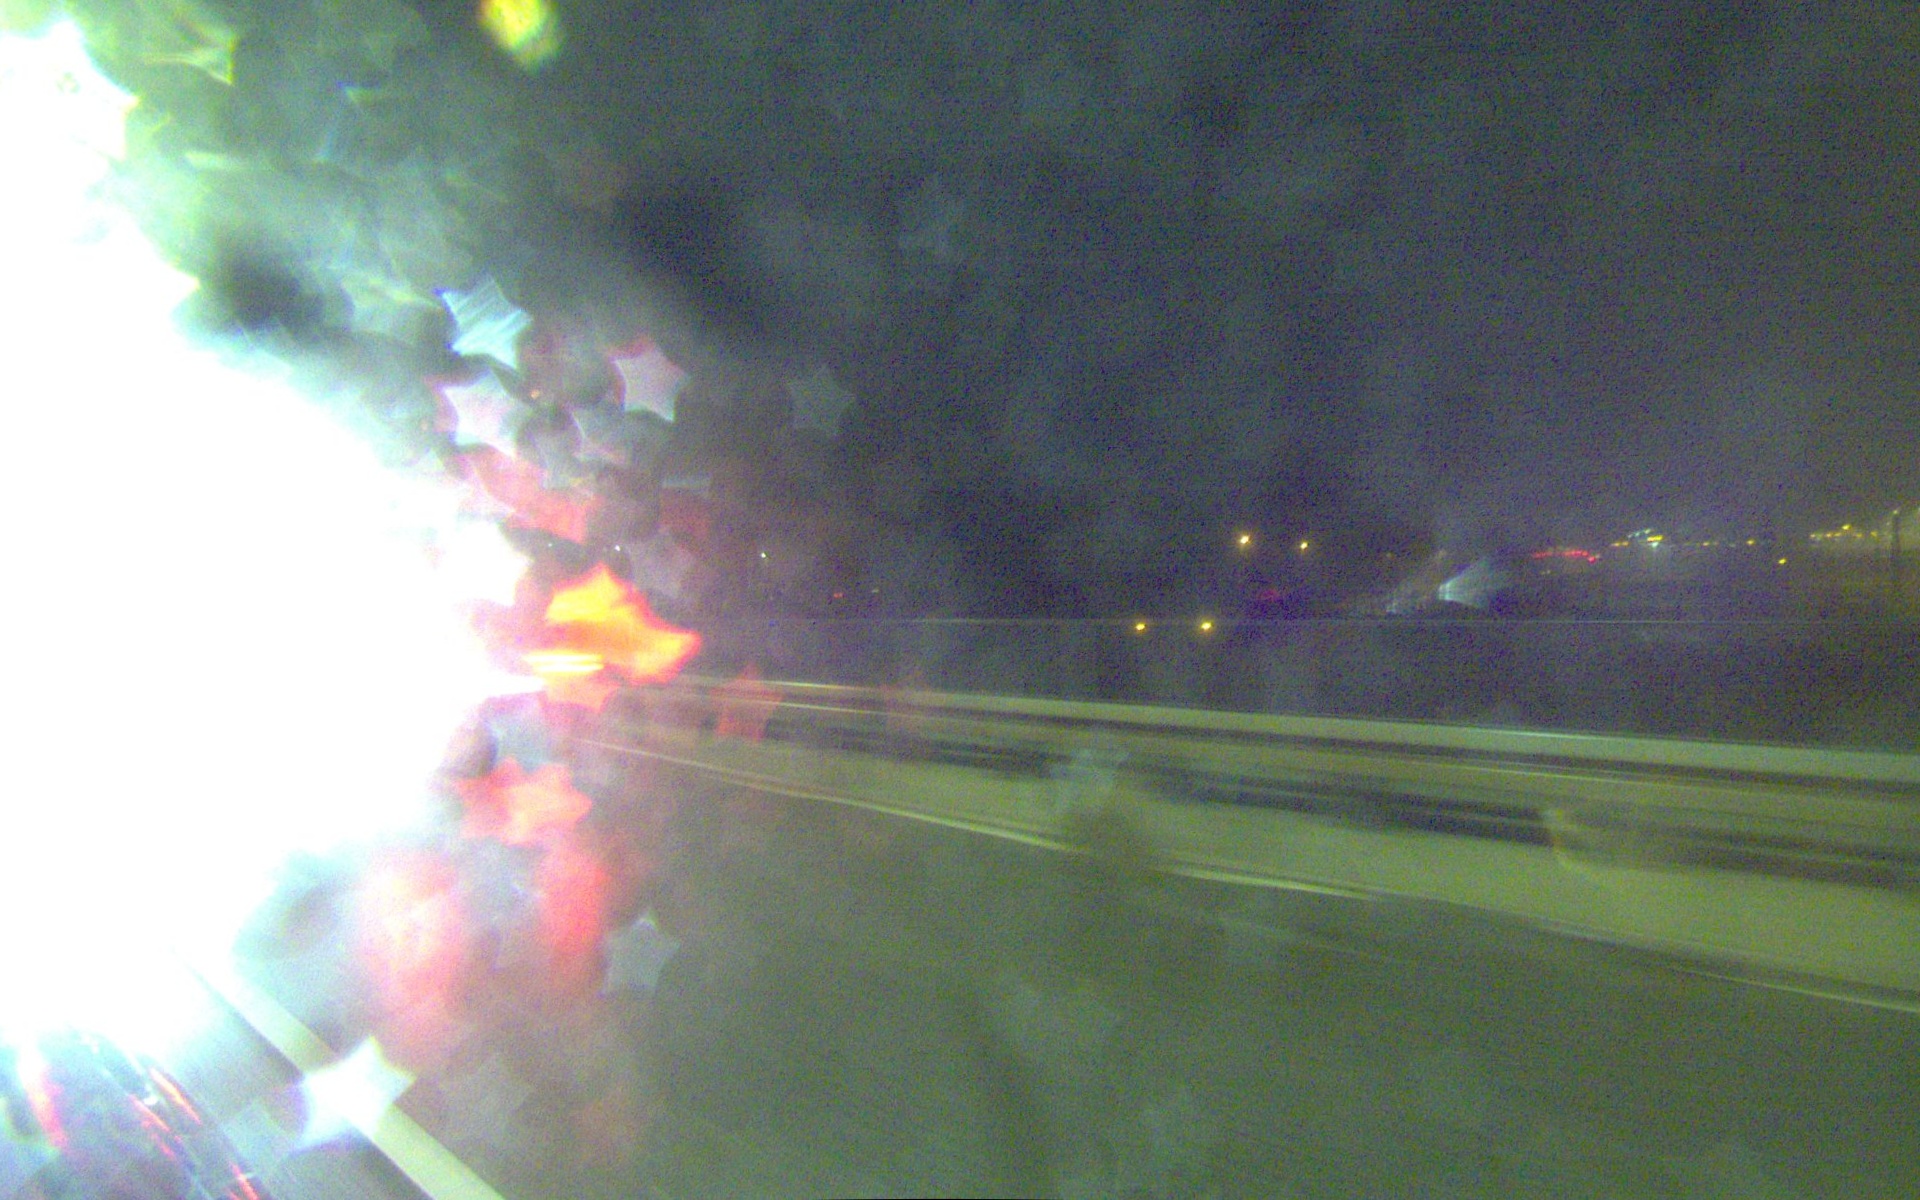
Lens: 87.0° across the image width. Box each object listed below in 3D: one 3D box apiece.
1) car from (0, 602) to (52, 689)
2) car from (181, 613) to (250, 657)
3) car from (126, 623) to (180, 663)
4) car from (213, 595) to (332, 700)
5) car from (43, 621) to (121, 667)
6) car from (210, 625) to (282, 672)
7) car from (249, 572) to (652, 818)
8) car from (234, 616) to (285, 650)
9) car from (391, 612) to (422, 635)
[{"bbox_3d":[-24.147,1.086,25.025,1.967,2.029,4.010,0,0,-34],"label":"car"},{"bbox_3d":[-43.597,2.031,59.357,1.967,2.027,4.013,-7,5,-18],"label":"car"},{"bbox_3d":[-35.648,1.879,44.773,1.283,1.540,3.056,-1,1,-27],"label":"car"},{"bbox_3d":[-13.770,0.908,20.180,1.731,1.875,4.008,2,-2,-37],"label":"car"},{"bbox_3d":[-31.311,1.558,36.159,1.497,1.537,3.116,-1,-1,-30],"label":"car"},{"bbox_3d":[-23.511,1.549,33.275,1.791,1.415,4.056,0,-2,-37],"label":"car"},{"bbox_3d":[-5.061,0.708,9.622,1.999,1.732,4.985,0,-1,-45],"label":"car"},{"bbox_3d":[-32.832,1.510,47.378,1.661,1.401,4.460,-2,1,-38],"label":"car"},{"bbox_3d":[-41.475,1.776,75.906,1.450,1.597,3.200,-1,-1,-18],"label":"car"}]
